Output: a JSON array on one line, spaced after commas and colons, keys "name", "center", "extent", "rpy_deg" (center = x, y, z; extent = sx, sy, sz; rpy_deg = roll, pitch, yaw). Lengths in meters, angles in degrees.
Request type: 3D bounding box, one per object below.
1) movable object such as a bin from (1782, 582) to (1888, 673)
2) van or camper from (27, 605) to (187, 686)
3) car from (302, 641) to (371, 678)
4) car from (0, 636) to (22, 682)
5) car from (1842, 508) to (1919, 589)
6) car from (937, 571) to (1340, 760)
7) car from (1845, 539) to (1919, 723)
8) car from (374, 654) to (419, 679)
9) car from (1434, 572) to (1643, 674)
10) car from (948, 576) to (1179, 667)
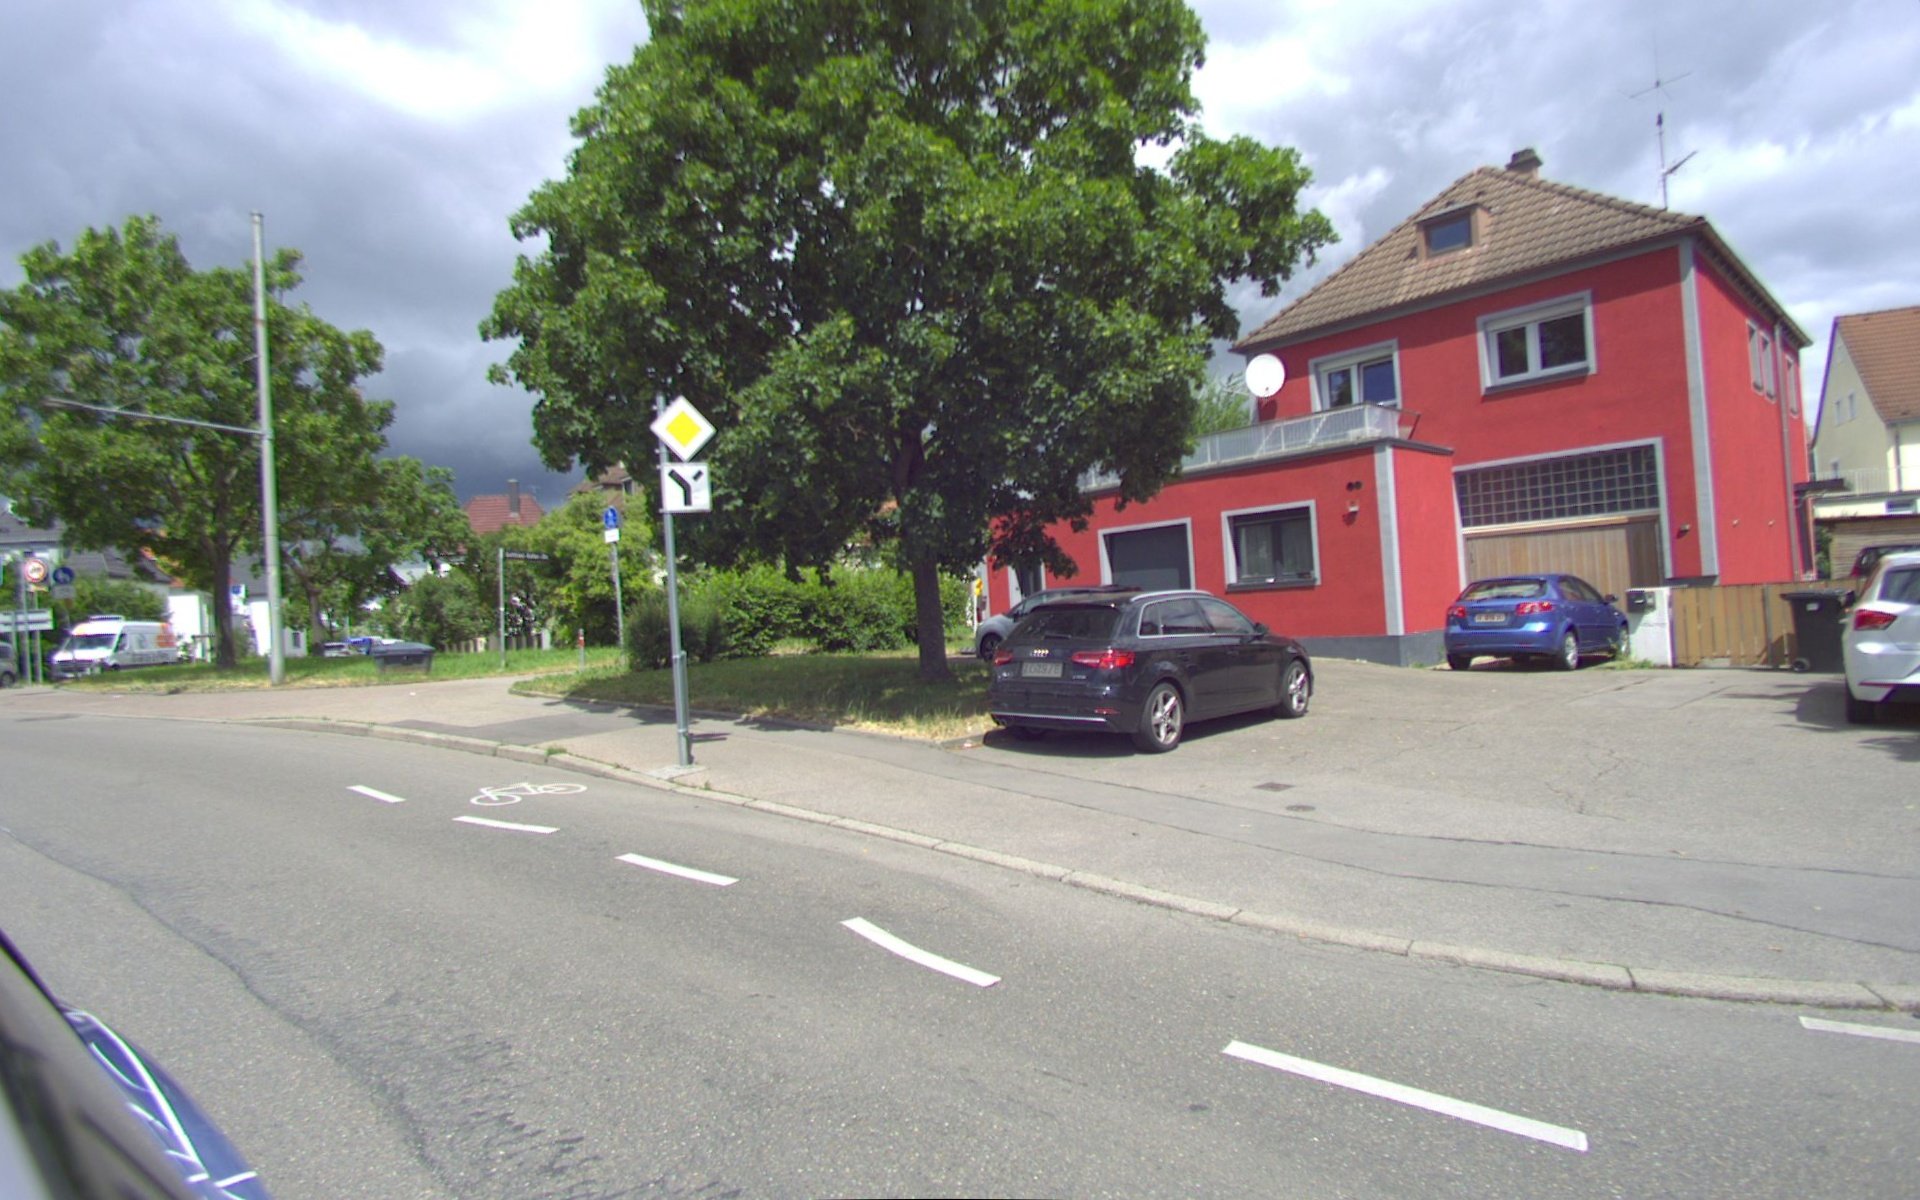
[{"name": "movable object such as a bin", "center": [10.966, 0.328, 12.690], "extent": [0.746, 1.069, 0.882], "rpy_deg": [-3, 1, -41]}, {"name": "van or camper", "center": [-36.636, 2.116, 43.862], "extent": [2.233, 3.018, 8.350], "rpy_deg": [-3, -4, -18]}, {"name": "car", "center": [-35.634, 3.373, 57.974], "extent": [2.195, 1.821, 4.414], "rpy_deg": [-3, -1, -16]}, {"name": "car", "center": [-34.604, 2.091, 34.210], "extent": [1.969, 1.600, 4.407], "rpy_deg": [-4, -2, -6]}, {"name": "car", "center": [18.410, -0.973, 19.490], "extent": [3.872, 1.414, 1.662], "rpy_deg": [-2, 0, -42]}, {"name": "car", "center": [1.963, 0.510, 10.297], "extent": [4.083, 1.404, 2.001], "rpy_deg": [-4, 1, -45]}, {"name": "car", "center": [9.058, 0.186, 8.891], "extent": [1.876, 1.414, 3.878], "rpy_deg": [-2, 0, 42]}, {"name": "car", "center": [-42.334, 4.968, 76.113], "extent": [1.966, 1.600, 4.414], "rpy_deg": [-3, -1, -16]}, {"name": "car", "center": [9.083, 0.307, 15.767], "extent": [3.758, 1.388, 1.844], "rpy_deg": [-2, -1, -44]}, {"name": "car", "center": [1.810, 0.386, 18.622], "extent": [1.621, 1.436, 4.080], "rpy_deg": [-4, 1, -45]}]
